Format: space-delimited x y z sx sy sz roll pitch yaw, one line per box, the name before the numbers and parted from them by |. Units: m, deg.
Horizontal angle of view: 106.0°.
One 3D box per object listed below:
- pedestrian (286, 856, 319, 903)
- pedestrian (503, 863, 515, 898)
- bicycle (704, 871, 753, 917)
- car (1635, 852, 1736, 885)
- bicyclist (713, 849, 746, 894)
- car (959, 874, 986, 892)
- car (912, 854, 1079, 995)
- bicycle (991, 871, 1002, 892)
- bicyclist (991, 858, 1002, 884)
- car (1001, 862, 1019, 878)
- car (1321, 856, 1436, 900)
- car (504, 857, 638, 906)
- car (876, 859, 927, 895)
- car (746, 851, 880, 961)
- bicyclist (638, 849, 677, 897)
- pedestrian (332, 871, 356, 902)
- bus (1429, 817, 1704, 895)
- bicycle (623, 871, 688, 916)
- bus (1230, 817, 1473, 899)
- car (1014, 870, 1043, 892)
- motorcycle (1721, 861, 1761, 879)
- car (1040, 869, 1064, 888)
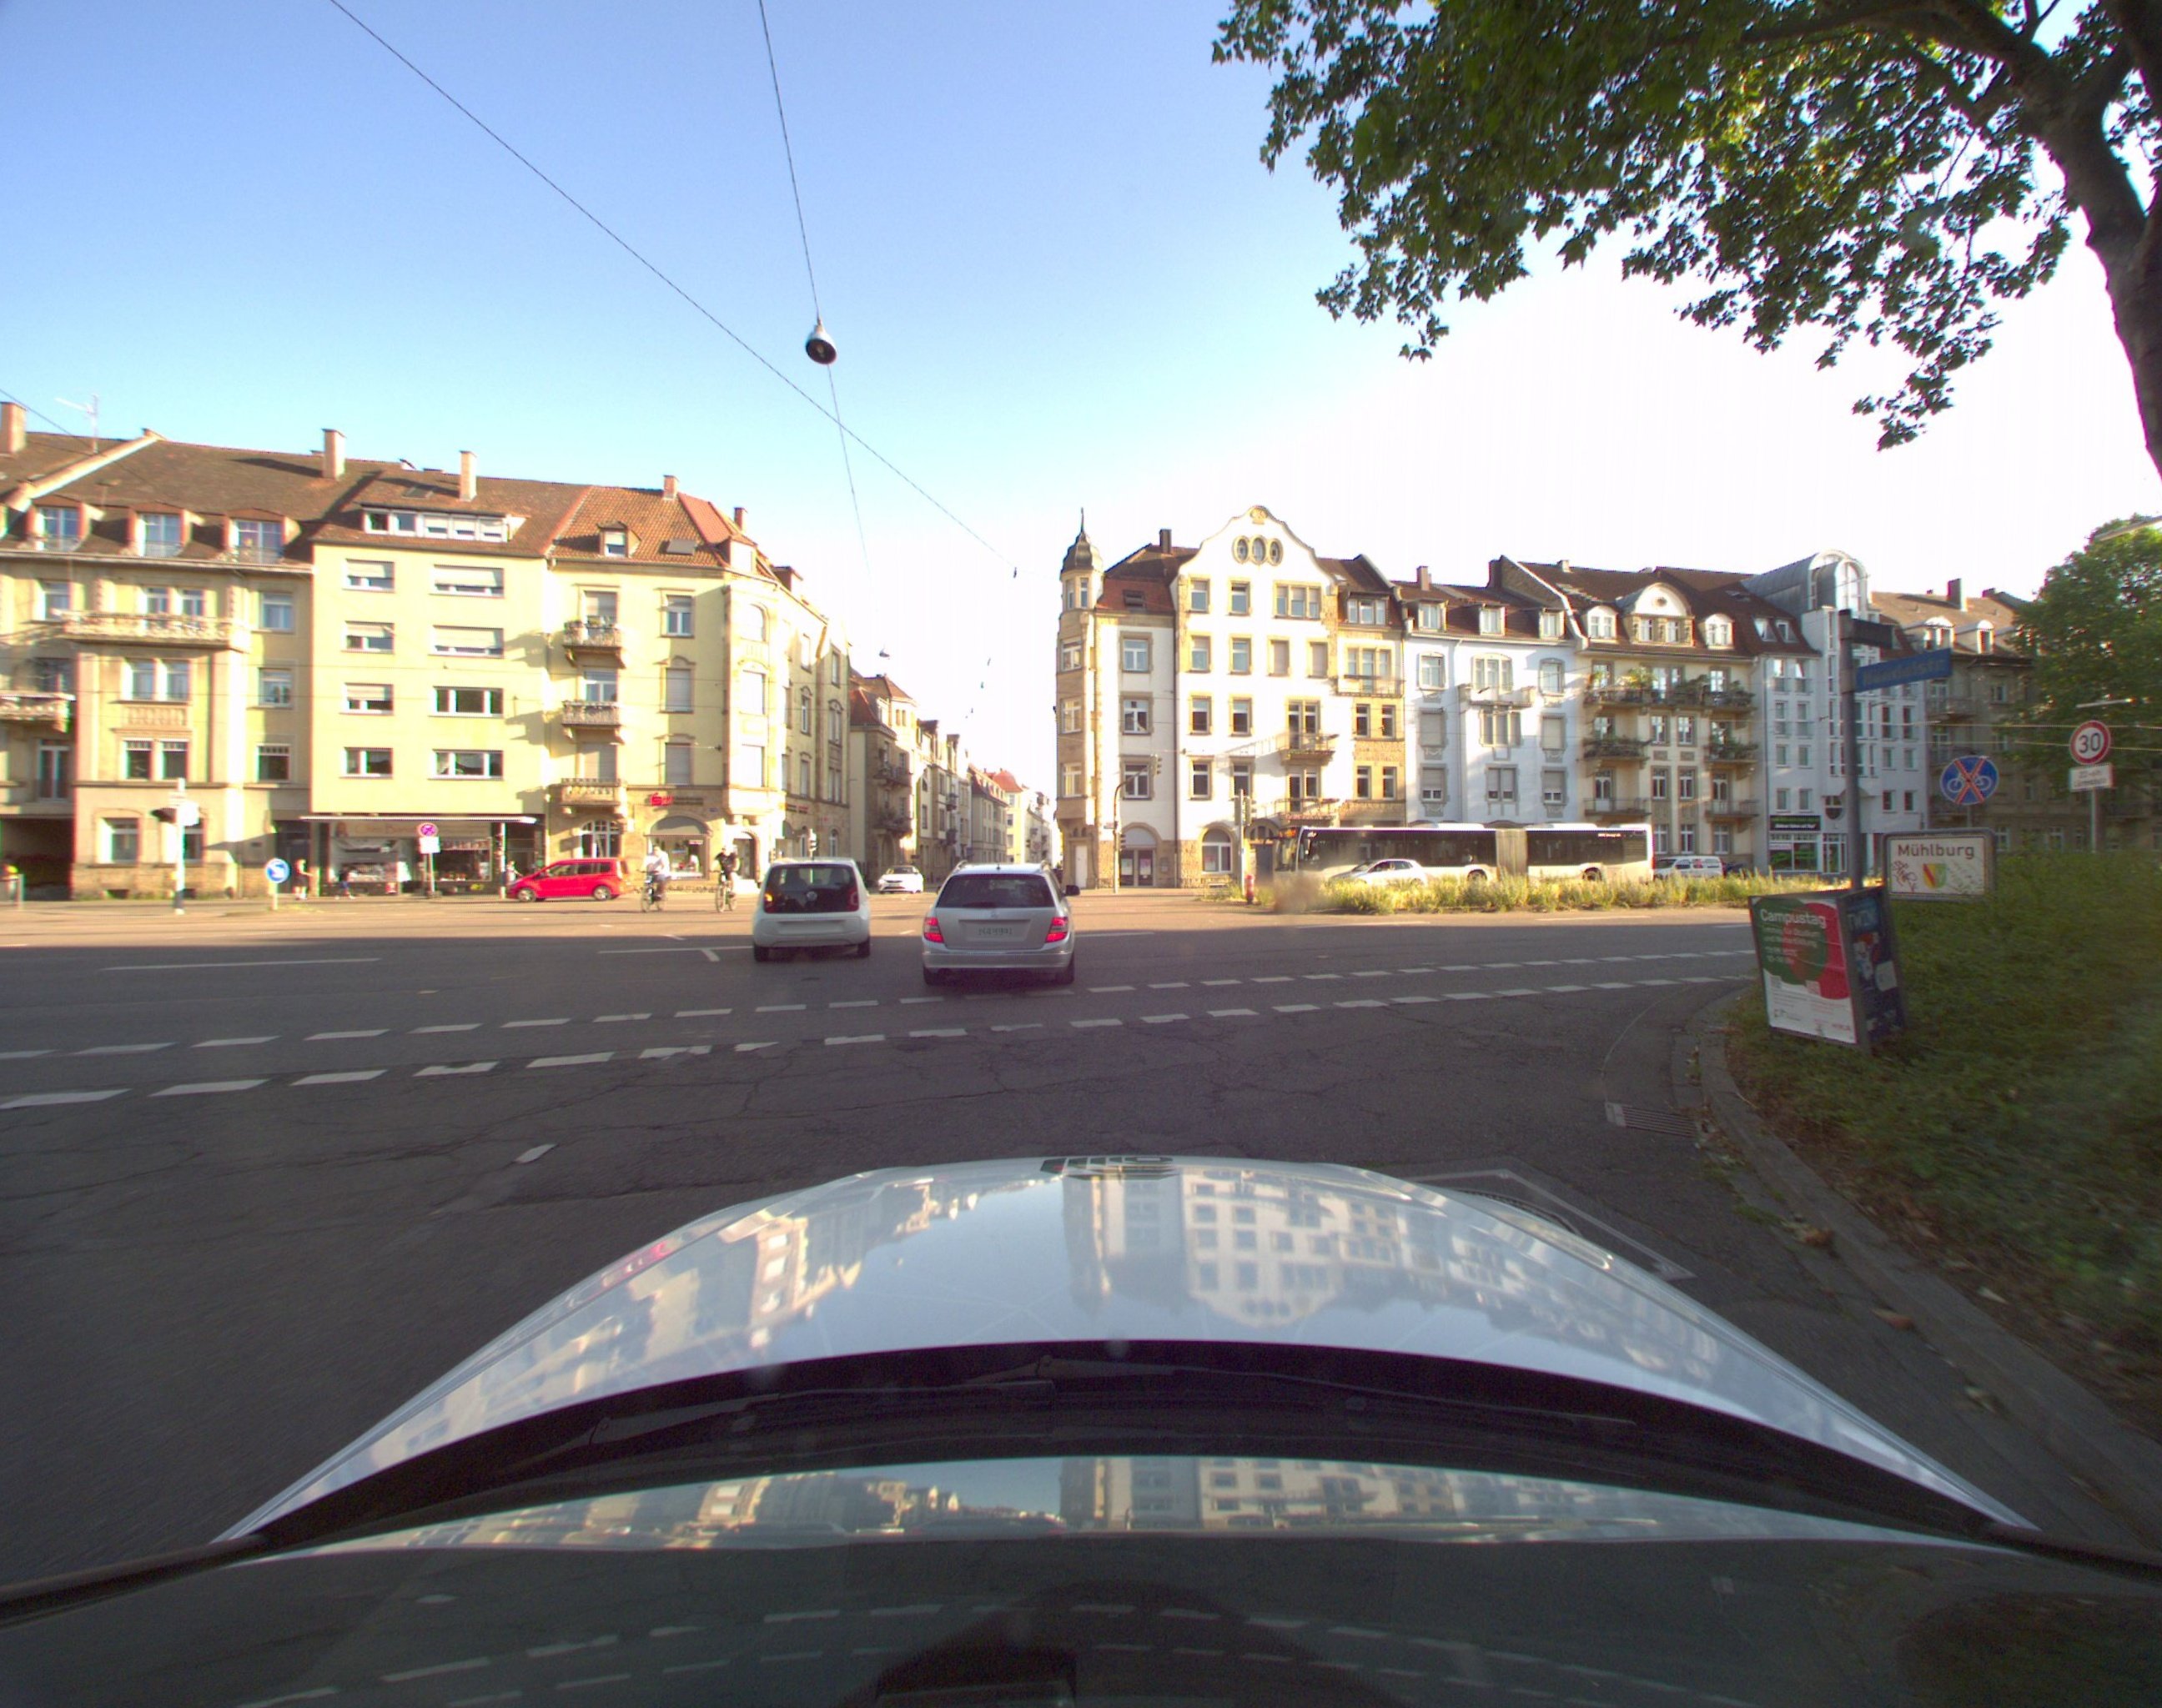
pedestrian | -33.617 1.083 35.192 0.665 2.014 0.768 0 -1 -2
pedestrian | -26.271 1.227 37.407 0.316 1.580 0.347 0 -1 -2
bicycle | -9.316 1.037 21.607 0.650 1.105 1.920 1 1 -7
car | 33.914 0.832 45.748 4.637 1.787 1.904 1 -1 -10
bicyclist | -9.302 0.462 21.574 0.609 1.158 0.765 1 -1 -7
car | -10.276 2.687 77.277 1.822 1.615 4.002 0 -1 2
car | -0.936 0.776 10.639 1.727 1.477 4.169 0 -1 -1
bicycle | -4.792 1.540 46.087 0.619 1.105 2.546 1 -1 -7
bicyclist | -4.773 0.960 46.036 0.609 1.494 0.765 1 -1 -7
car | -8.036 1.815 92.687 1.825 1.746 3.996 0 -1 -2
car | 11.984 0.958 32.936 3.984 1.684 1.931 1 -1 -8
car | -20.942 1.120 33.664 4.309 1.899 1.908 1 -1 -20
car | -9.008 1.145 41.135 1.825 1.706 3.996 0 -1 -3
car | -4.305 0.734 13.092 1.737 1.480 3.790 1 -1 -19
bicyclist | -11.278 0.505 21.713 0.658 1.236 0.765 1 -1 -7
pedestrian | -32.359 1.423 35.776 0.554 1.362 0.552 0 -1 -11
bus | 22.580 0.179 37.983 11.942 3.374 3.253 1 -1 -11
bicycle | -11.285 1.025 21.720 0.650 1.105 2.546 1 -1 -7
bus | 11.827 0.238 35.846 9.869 3.374 3.264 1 -1 -11
car | -3.940 2.041 61.707 1.823 1.615 4.002 0 -1 2
motorcycle | 41.343 0.997 51.006 2.414 1.021 0.527 0 2 -12
car | -2.748 2.326 77.619 1.822 1.706 4.004 0 -1 4
